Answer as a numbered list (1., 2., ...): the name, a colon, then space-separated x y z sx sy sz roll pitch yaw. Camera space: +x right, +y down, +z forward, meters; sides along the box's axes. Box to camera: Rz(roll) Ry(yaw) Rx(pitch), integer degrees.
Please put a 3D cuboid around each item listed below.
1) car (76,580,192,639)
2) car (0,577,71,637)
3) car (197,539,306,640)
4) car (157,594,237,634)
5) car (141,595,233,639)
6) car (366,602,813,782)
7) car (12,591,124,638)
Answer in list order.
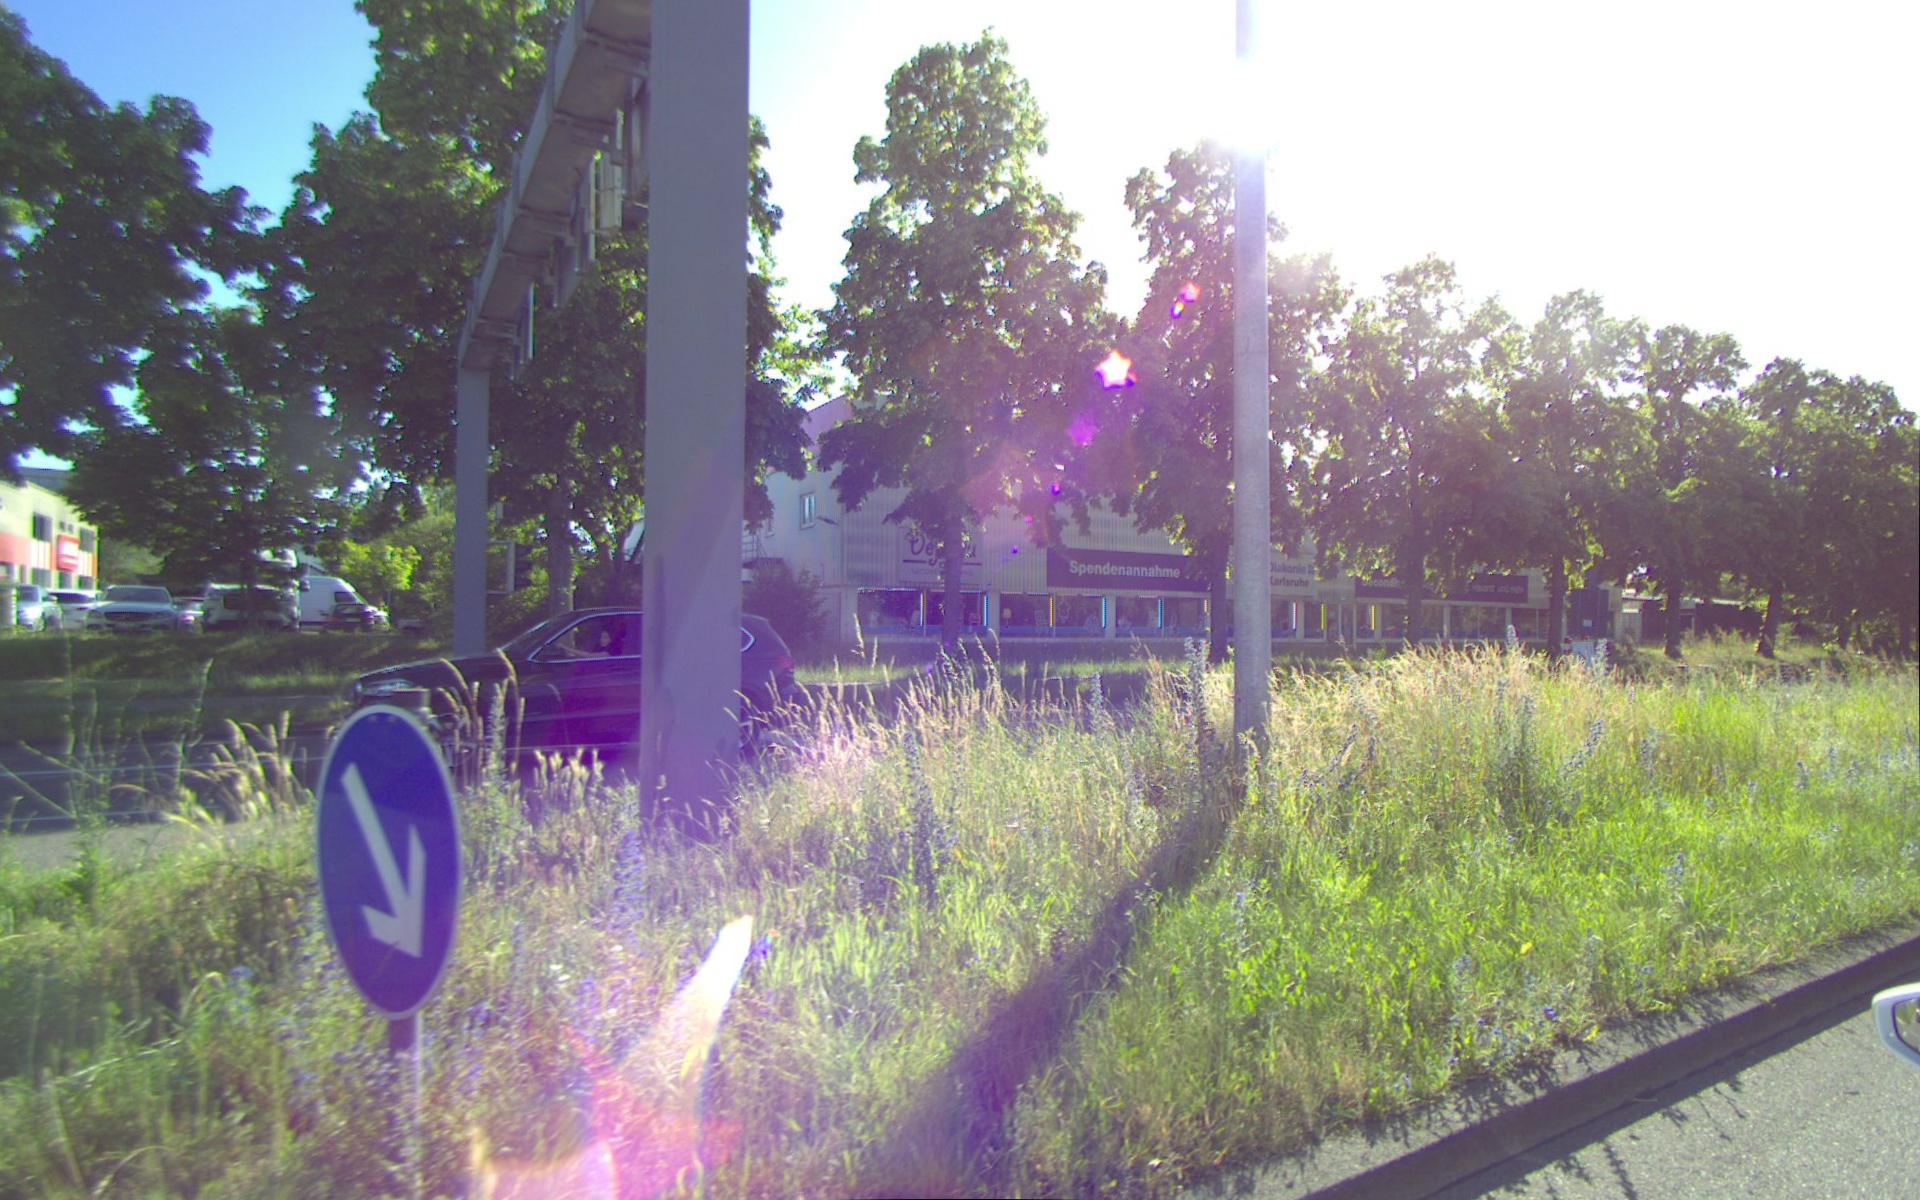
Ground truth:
1. car: -21.638 0.285 26.471 1.926 1.407 4.093 1 -2 -34
2. car: -23.720 0.199 24.919 1.926 1.407 4.093 1 -2 -34
3. car: -19.229 -0.175 27.450 2.184 2.465 5.842 1 -2 -34
4. car: -30.140 0.585 39.796 1.872 1.474 4.102 1 -2 -28
5. car: -27.253 0.621 35.542 1.872 1.474 4.102 1 -2 -28
6. car: -4.196 0.956 11.613 4.577 1.719 1.932 1 -3 -31
7. car: -29.885 0.511 33.801 1.872 1.474 4.102 1 -2 -28
